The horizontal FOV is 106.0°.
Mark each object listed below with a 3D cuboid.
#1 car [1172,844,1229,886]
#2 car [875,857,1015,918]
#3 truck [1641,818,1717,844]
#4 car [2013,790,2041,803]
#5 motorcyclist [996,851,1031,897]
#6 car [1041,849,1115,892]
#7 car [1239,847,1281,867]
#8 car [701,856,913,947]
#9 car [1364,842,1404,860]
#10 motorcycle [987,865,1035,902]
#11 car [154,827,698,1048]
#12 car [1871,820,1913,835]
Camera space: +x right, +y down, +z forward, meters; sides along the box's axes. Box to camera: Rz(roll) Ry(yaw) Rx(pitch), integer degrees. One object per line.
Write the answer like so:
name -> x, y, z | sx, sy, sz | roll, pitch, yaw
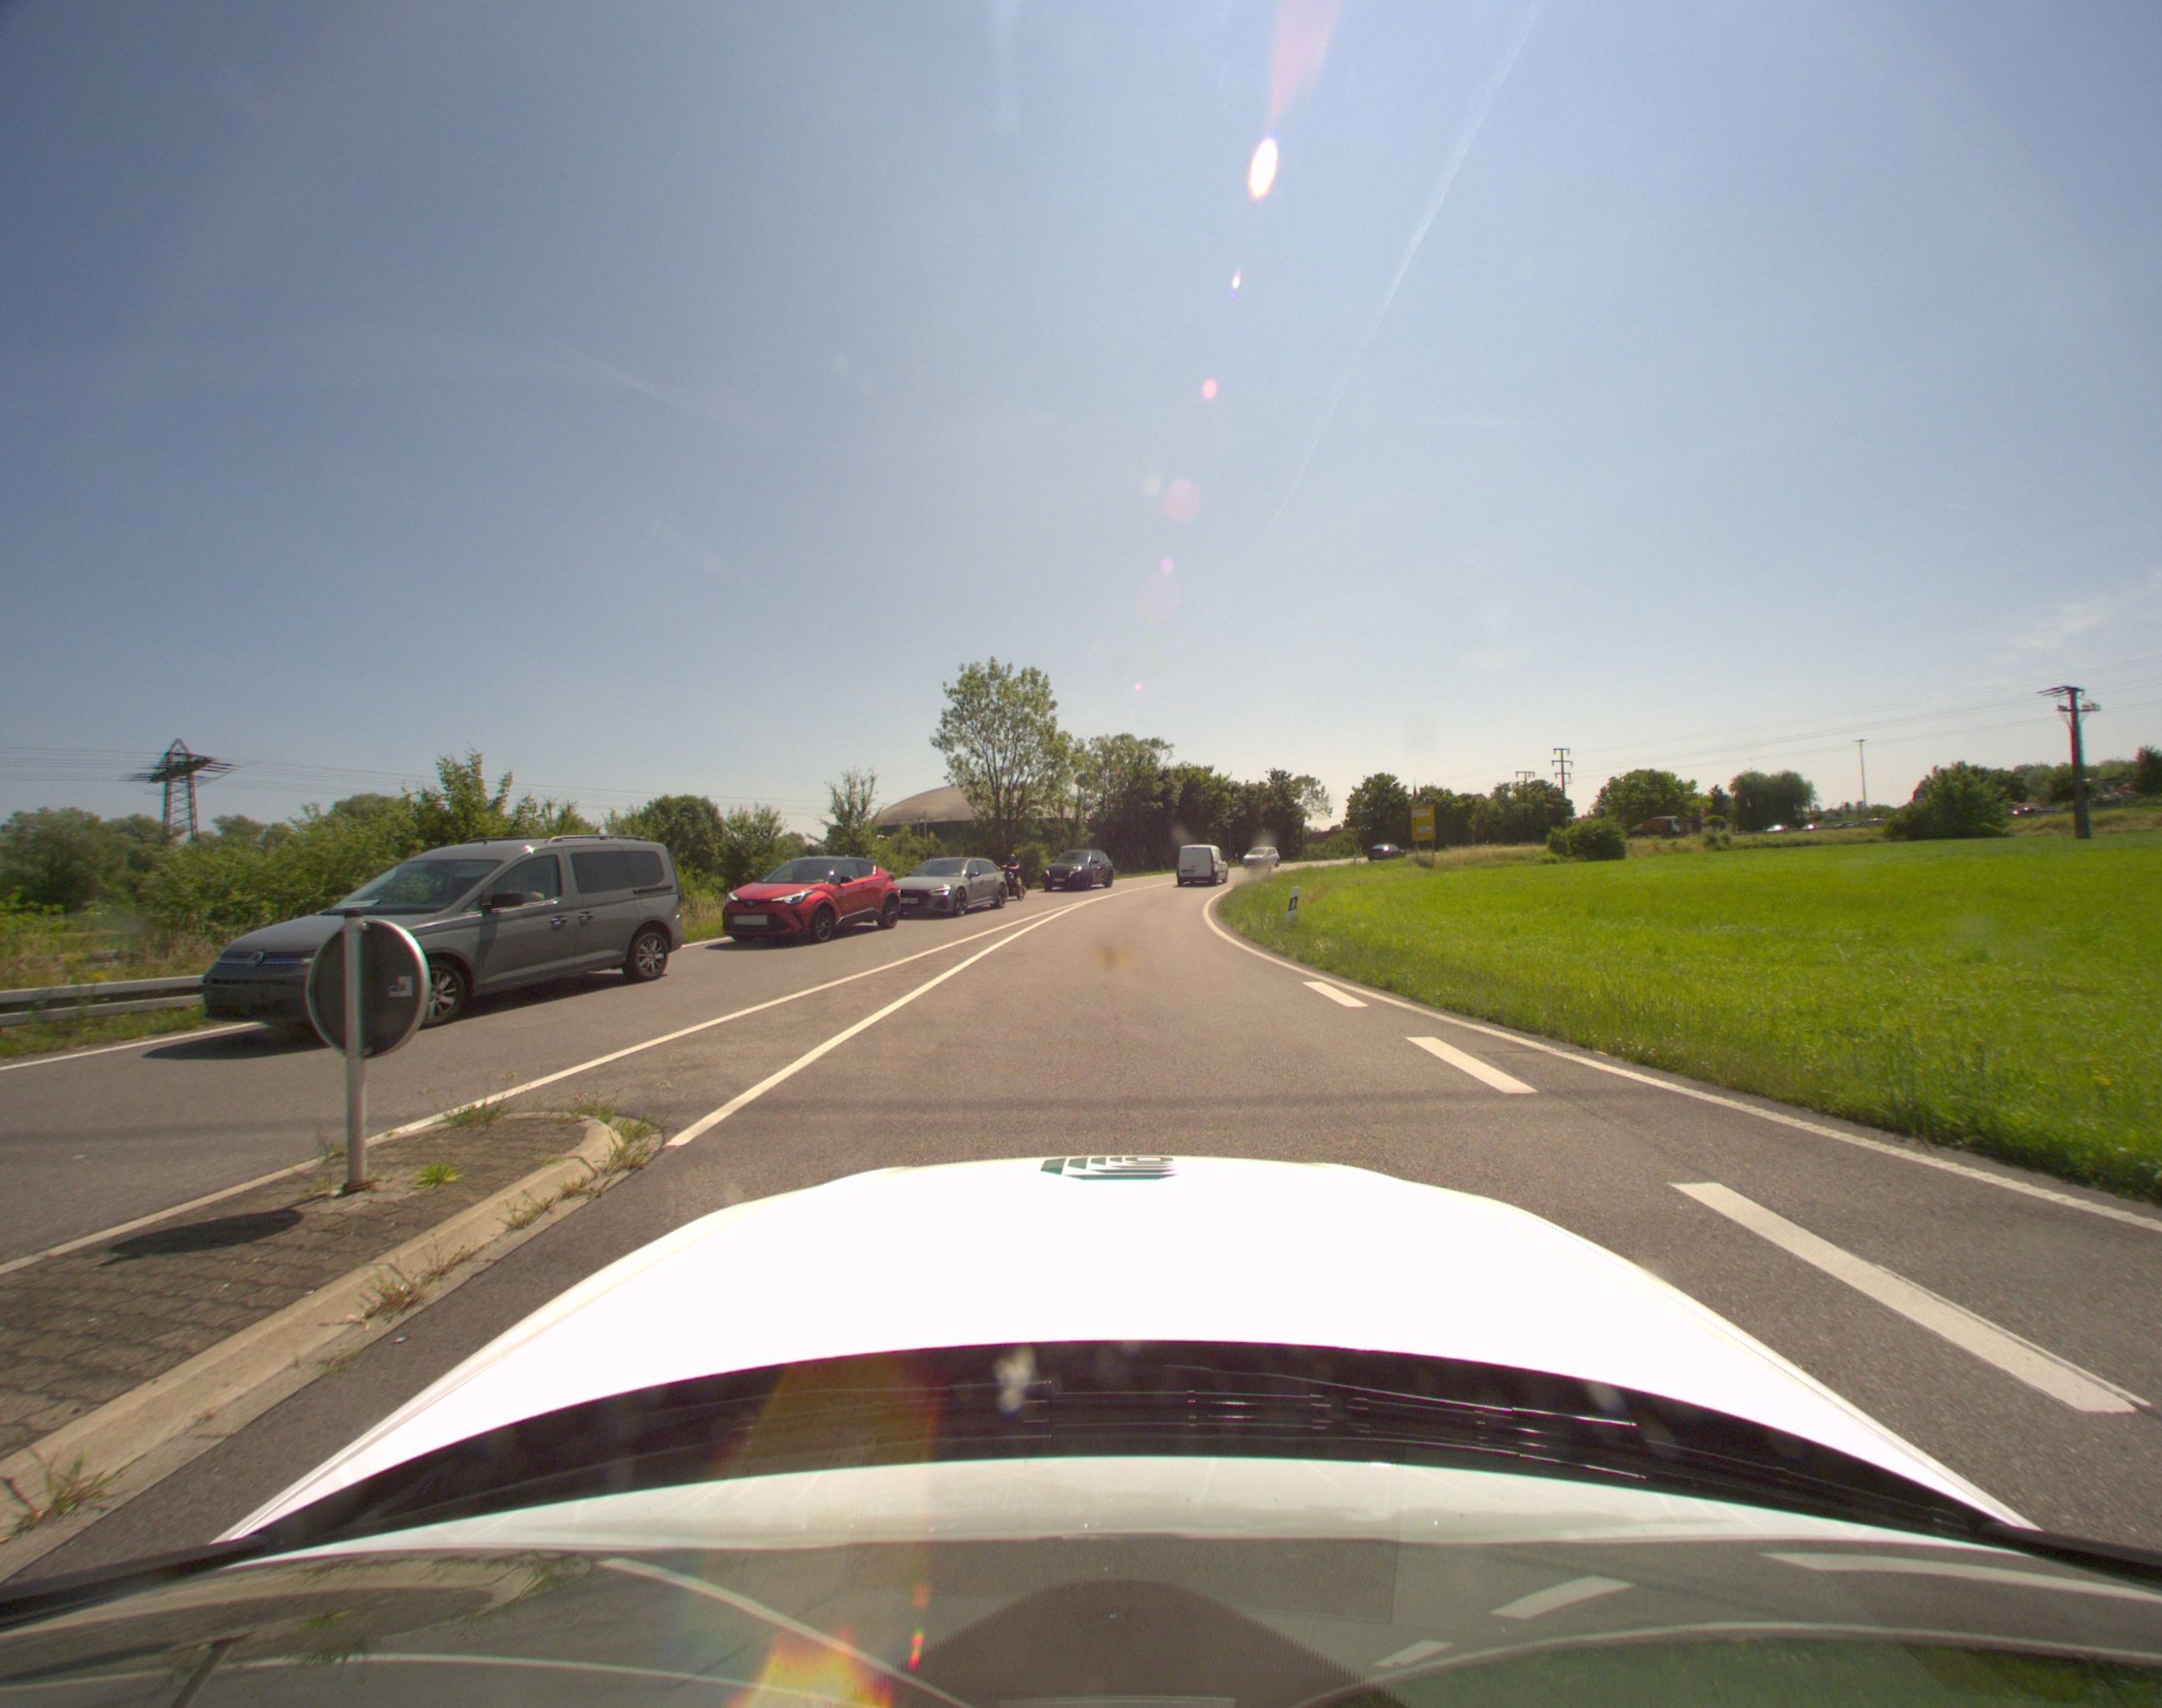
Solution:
car -> 5.440, 0.498, 36.740 | 1.888, 1.732, 3.839 | -3, -1, 17
car -> -3.457, 0.821, 21.806 | 1.827, 1.460, 4.828 | -1, -1, 15
truck -> 75.595, -2.926, 102.916 | 8.796, 3.137, 3.090 | 0, -1, -17
car -> 163.186, -9.918, 140.539 | 4.003, 2.014, 1.985 | 0, -1, -22
motorcyclist -> -2.248, 0.646, 27.102 | 0.775, 1.495, 1.135 | -2, -1, 15
car -> -0.043, 0.633, 33.578 | 1.688, 1.638, 4.271 | 0, 0, 20
car -> 13.004, 0.207, 59.072 | 1.522, 1.443, 3.630 | 0, 0, 39
car -> -5.120, 0.821, 15.950 | 1.785, 1.515, 4.409 | -1, -1, 15
car -> 25.750, -0.243, 69.182 | 1.703, 1.420, 3.767 | -3, -2, 45
motorcycle -> -2.291, 0.950, 27.015 | 0.776, 1.123, 2.439 | -1, 0, 15
car -> -6.678, 0.748, 9.110 | 1.913, 1.832, 4.454 | -3, -1, 13
car -> 119.187, -3.922, 119.748 | 2.007, 2.014, 3.960 | 0, -1, -31
